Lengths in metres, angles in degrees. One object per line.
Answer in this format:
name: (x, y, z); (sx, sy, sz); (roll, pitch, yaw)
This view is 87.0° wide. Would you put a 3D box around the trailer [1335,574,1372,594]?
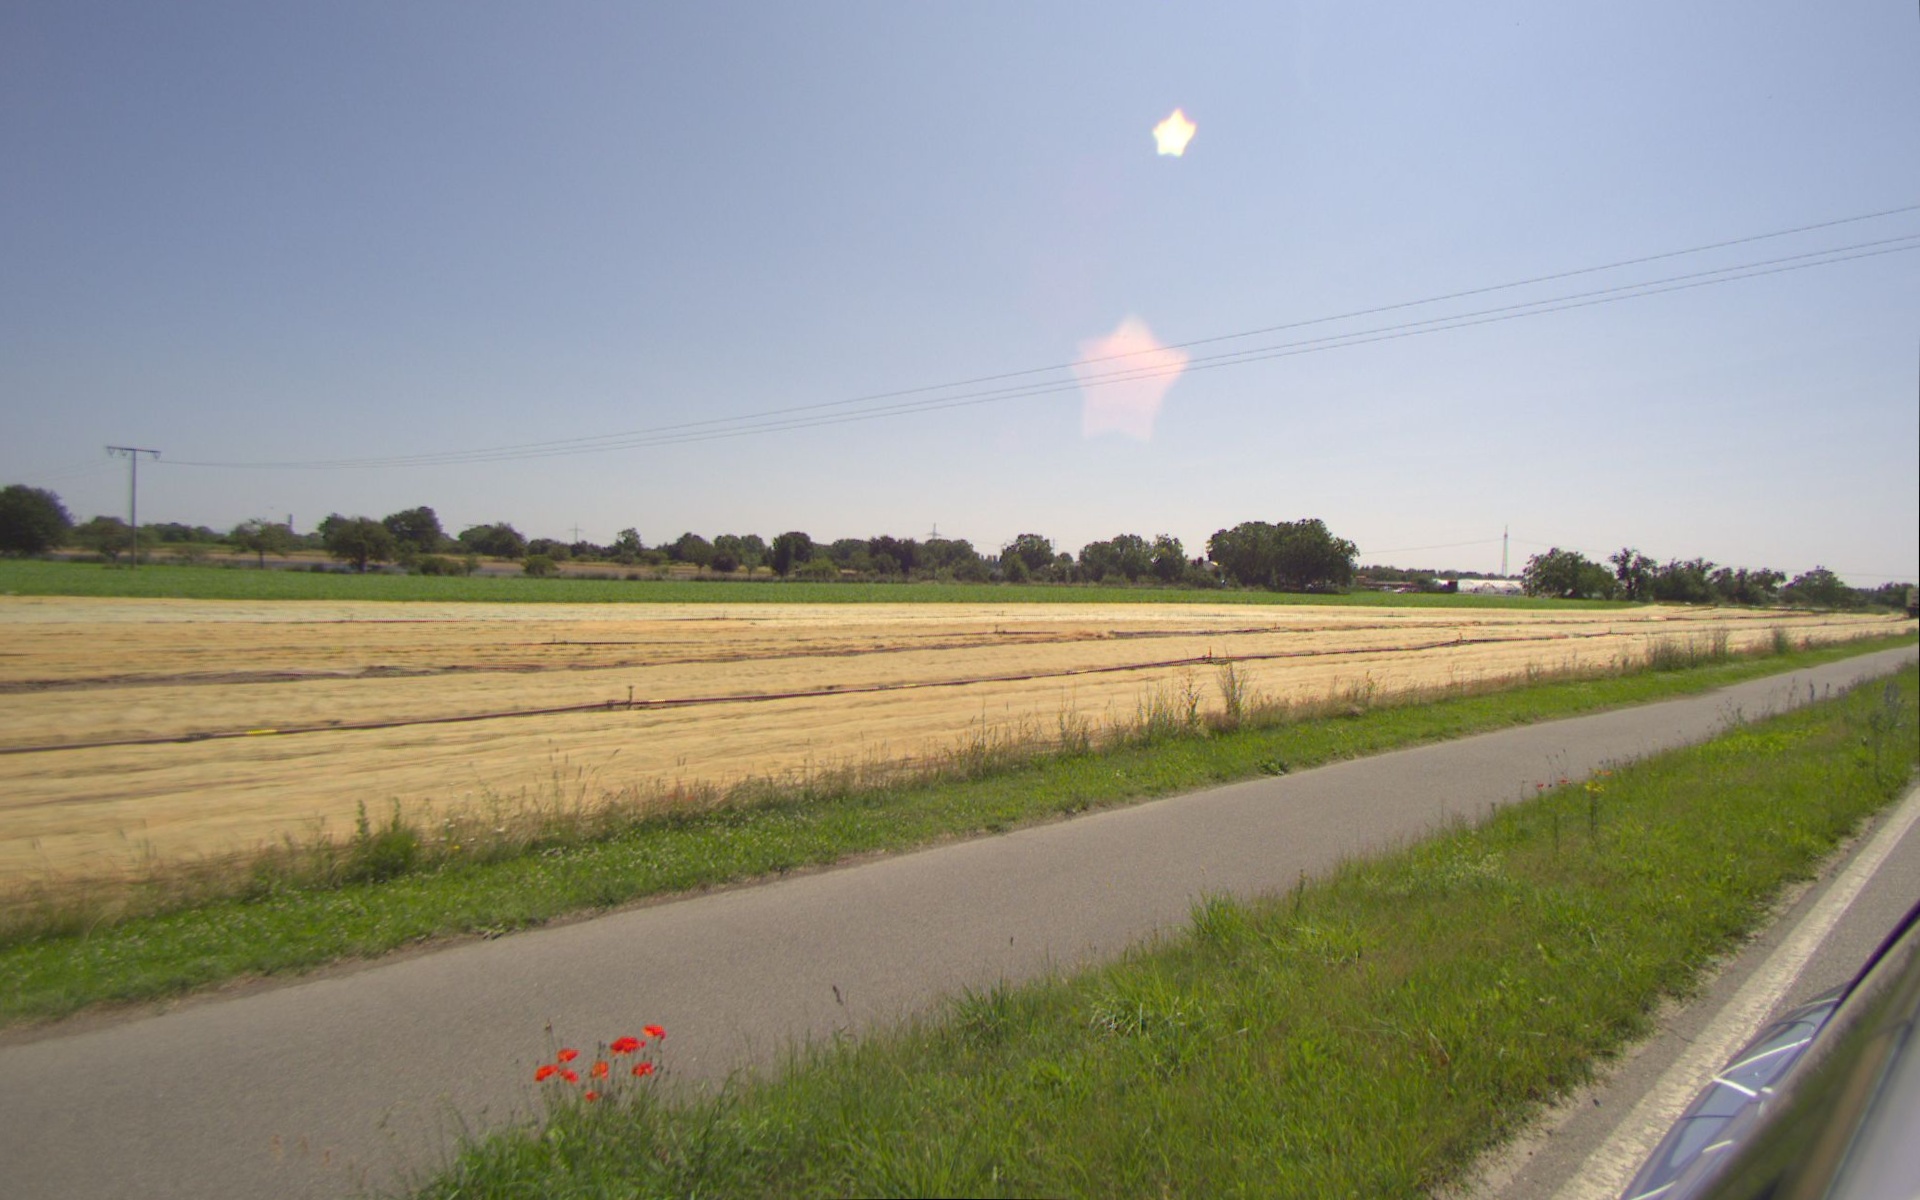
trailer: (88.938, -3.648, 228.780); (3.093, 4.274, 7.452); (0, 1, -28)
